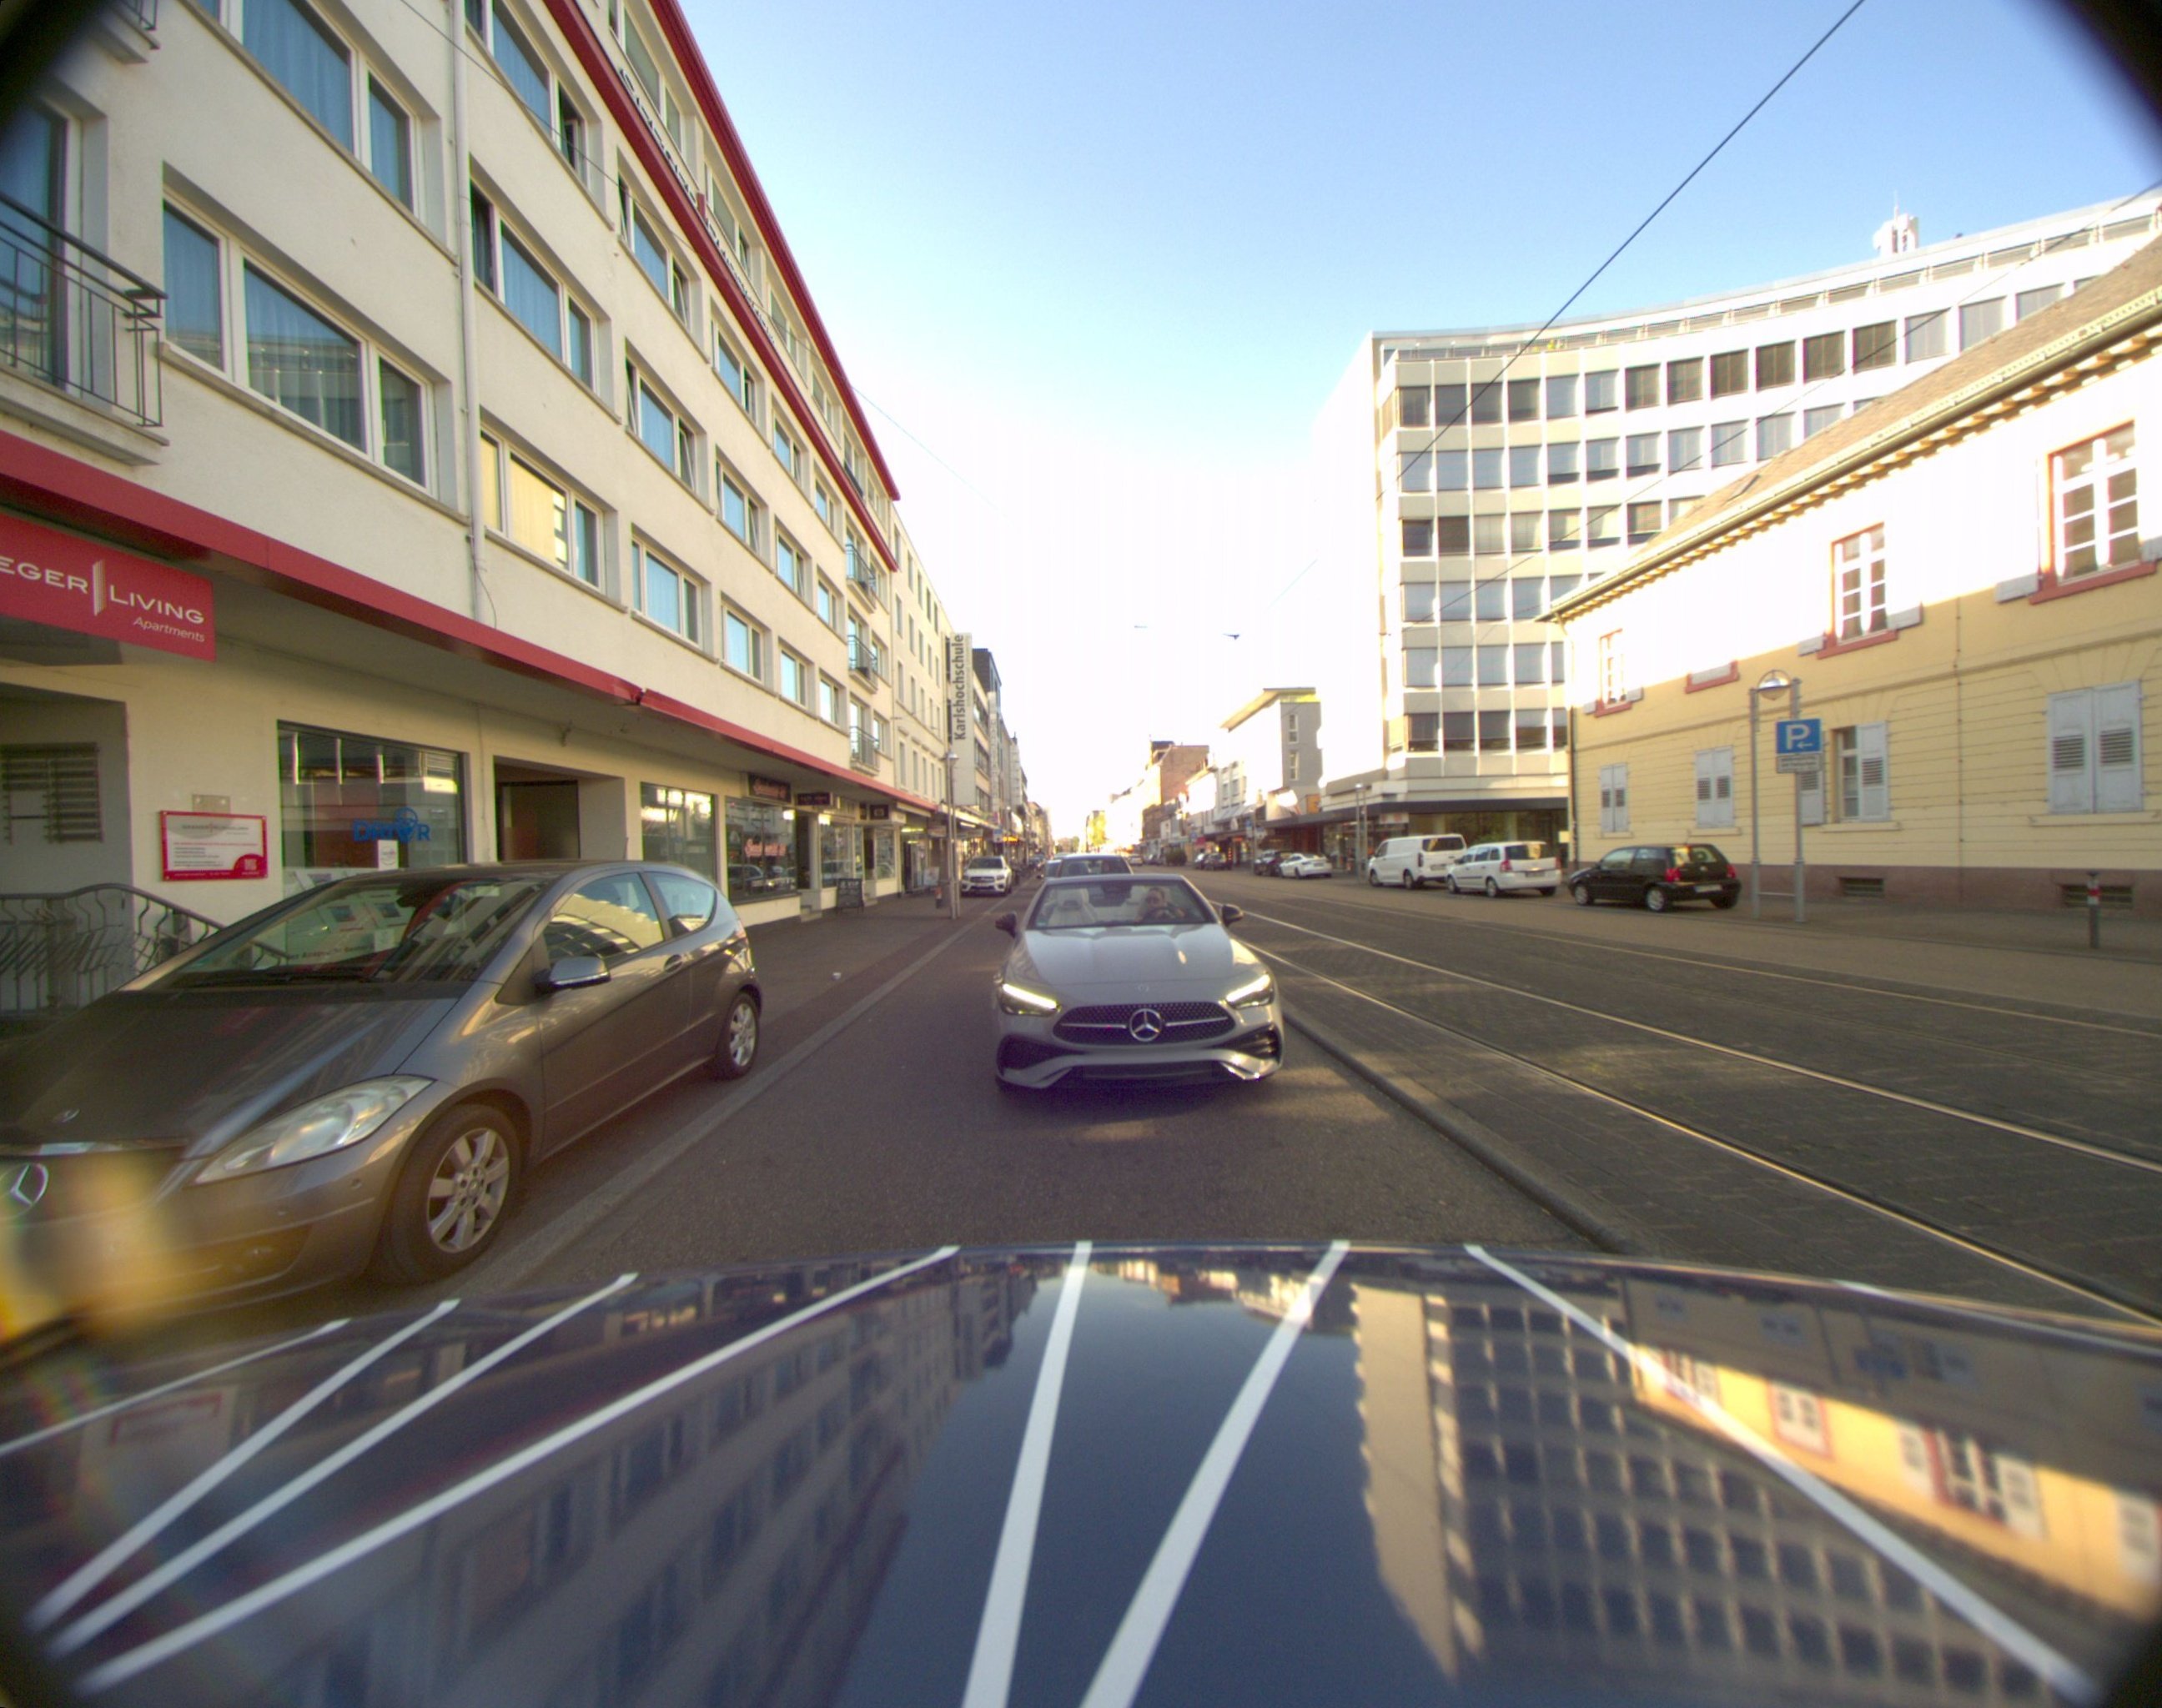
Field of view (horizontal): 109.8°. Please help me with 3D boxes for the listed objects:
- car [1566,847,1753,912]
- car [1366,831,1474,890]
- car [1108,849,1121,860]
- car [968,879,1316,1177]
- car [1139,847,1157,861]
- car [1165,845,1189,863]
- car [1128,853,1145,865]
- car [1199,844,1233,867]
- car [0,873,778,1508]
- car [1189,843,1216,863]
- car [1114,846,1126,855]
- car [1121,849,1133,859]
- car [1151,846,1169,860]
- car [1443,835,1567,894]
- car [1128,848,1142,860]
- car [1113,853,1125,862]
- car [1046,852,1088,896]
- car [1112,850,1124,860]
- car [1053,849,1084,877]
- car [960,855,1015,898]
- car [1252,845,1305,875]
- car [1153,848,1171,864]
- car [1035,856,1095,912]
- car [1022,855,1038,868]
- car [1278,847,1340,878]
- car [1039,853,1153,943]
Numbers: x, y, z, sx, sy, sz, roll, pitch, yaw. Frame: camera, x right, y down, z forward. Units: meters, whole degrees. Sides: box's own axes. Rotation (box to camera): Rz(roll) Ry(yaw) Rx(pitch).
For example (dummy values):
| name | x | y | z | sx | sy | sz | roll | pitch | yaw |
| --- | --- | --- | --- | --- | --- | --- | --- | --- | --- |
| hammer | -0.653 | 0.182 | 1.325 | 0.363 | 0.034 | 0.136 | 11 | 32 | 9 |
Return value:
| name | x | y | z | sx | sy | sz | roll | pitch | yaw |
| --- | --- | --- | --- | --- | --- | --- | --- | --- | --- |
| car | 12.815 | 0.504 | 17.088 | 1.688 | 1.246 | 3.212 | -2 | 1 | -1 |
| car | 12.683 | 0.229 | 28.796 | 2.040 | 2.002 | 4.621 | -1 | 0 | 1 |
| car | 6.324 | 0.075 | 143.881 | 1.914 | 1.883 | 3.855 | -2 | 1 | -2 |
| car | 0.208 | 1.009 | 6.166 | 1.884 | 1.375 | 3.998 | -2 | 1 | -4 |
| car | 10.519 | -0.004 | 119.552 | 1.999 | 2.002 | 5.319 | -1 | 0 | -4 |
| car | 11.408 | -0.004 | 90.472 | 2.200 | 2.030 | 3.999 | -1 | 0 | -1 |
| car | 7.341 | 0.626 | 101.093 | 1.760 | 1.587 | 3.999 | -1 | 0 | -2 |
| car | 11.603 | 0.099 | 65.363 | 1.999 | 1.849 | 3.998 | -2 | 1 | -2 |
| car | -3.214 | 0.947 | 3.953 | 1.683 | 1.537 | 3.999 | -2 | 0 | -1 |
| car | 11.876 | -0.060 | 74.245 | 1.789 | 1.870 | 3.999 | -1 | 0 | -2 |
| car | 9.046 | -0.835 | 176.388 | 2.148 | 1.850 | 3.998 | -2 | 1 | -2 |
| car | 9.551 | -0.049 | 157.301 | 1.999 | 2.002 | 3.999 | -1 | 0 | -2 |
| car | 11.529 | -0.143 | 111.370 | 1.999 | 2.002 | 3.998 | -2 | 1 | -2 |
| car | 12.760 | 0.267 | 23.156 | 1.641 | 1.600 | 4.005 | -2 | 1 | 3 |
| car | 9.536 | -0.004 | 134.442 | 1.999 | 2.002 | 3.999 | -1 | 0 | -2 |
| car | 6.744 | 0.618 | 133.250 | 1.964 | 1.499 | 4.000 | -2 | 1 | 4 |
| car | -0.597 | 0.800 | 31.959 | 1.573 | 1.670 | 3.688 | -2 | 1 | -1 |
| car | 7.447 | 0.214 | 151.497 | 1.999 | 2.002 | 3.998 | -2 | 1 | -2 |
| car | -0.862 | 0.605 | 52.659 | 1.999 | 1.793 | 3.999 | -2 | 1 | -1 |
| car | -3.845 | 0.886 | 31.727 | 1.999 | 1.620 | 3.998 | -1 | 0 | -4 |
| car | 12.330 | 0.360 | 47.689 | 1.999 | 1.694 | 4.107 | -3 | 1 | -2 |
| car | 10.780 | 0.217 | 100.883 | 1.998 | 2.002 | 4.000 | -1 | 0 | 1 |
| car | -0.489 | 0.864 | 23.555 | 1.648 | 1.506 | 3.844 | -2 | 0 | -1 |
| car | -6.214 | 0.889 | 92.352 | 1.714 | 1.430 | 3.756 | -2 | 1 | -1 |
| car | 12.606 | 0.419 | 42.263 | 1.999 | 1.521 | 4.373 | -2 | 1 | -1 |
| car | 0.168 | 0.782 | 15.604 | 1.927 | 1.533 | 3.998 | -2 | 0 | -4 |
